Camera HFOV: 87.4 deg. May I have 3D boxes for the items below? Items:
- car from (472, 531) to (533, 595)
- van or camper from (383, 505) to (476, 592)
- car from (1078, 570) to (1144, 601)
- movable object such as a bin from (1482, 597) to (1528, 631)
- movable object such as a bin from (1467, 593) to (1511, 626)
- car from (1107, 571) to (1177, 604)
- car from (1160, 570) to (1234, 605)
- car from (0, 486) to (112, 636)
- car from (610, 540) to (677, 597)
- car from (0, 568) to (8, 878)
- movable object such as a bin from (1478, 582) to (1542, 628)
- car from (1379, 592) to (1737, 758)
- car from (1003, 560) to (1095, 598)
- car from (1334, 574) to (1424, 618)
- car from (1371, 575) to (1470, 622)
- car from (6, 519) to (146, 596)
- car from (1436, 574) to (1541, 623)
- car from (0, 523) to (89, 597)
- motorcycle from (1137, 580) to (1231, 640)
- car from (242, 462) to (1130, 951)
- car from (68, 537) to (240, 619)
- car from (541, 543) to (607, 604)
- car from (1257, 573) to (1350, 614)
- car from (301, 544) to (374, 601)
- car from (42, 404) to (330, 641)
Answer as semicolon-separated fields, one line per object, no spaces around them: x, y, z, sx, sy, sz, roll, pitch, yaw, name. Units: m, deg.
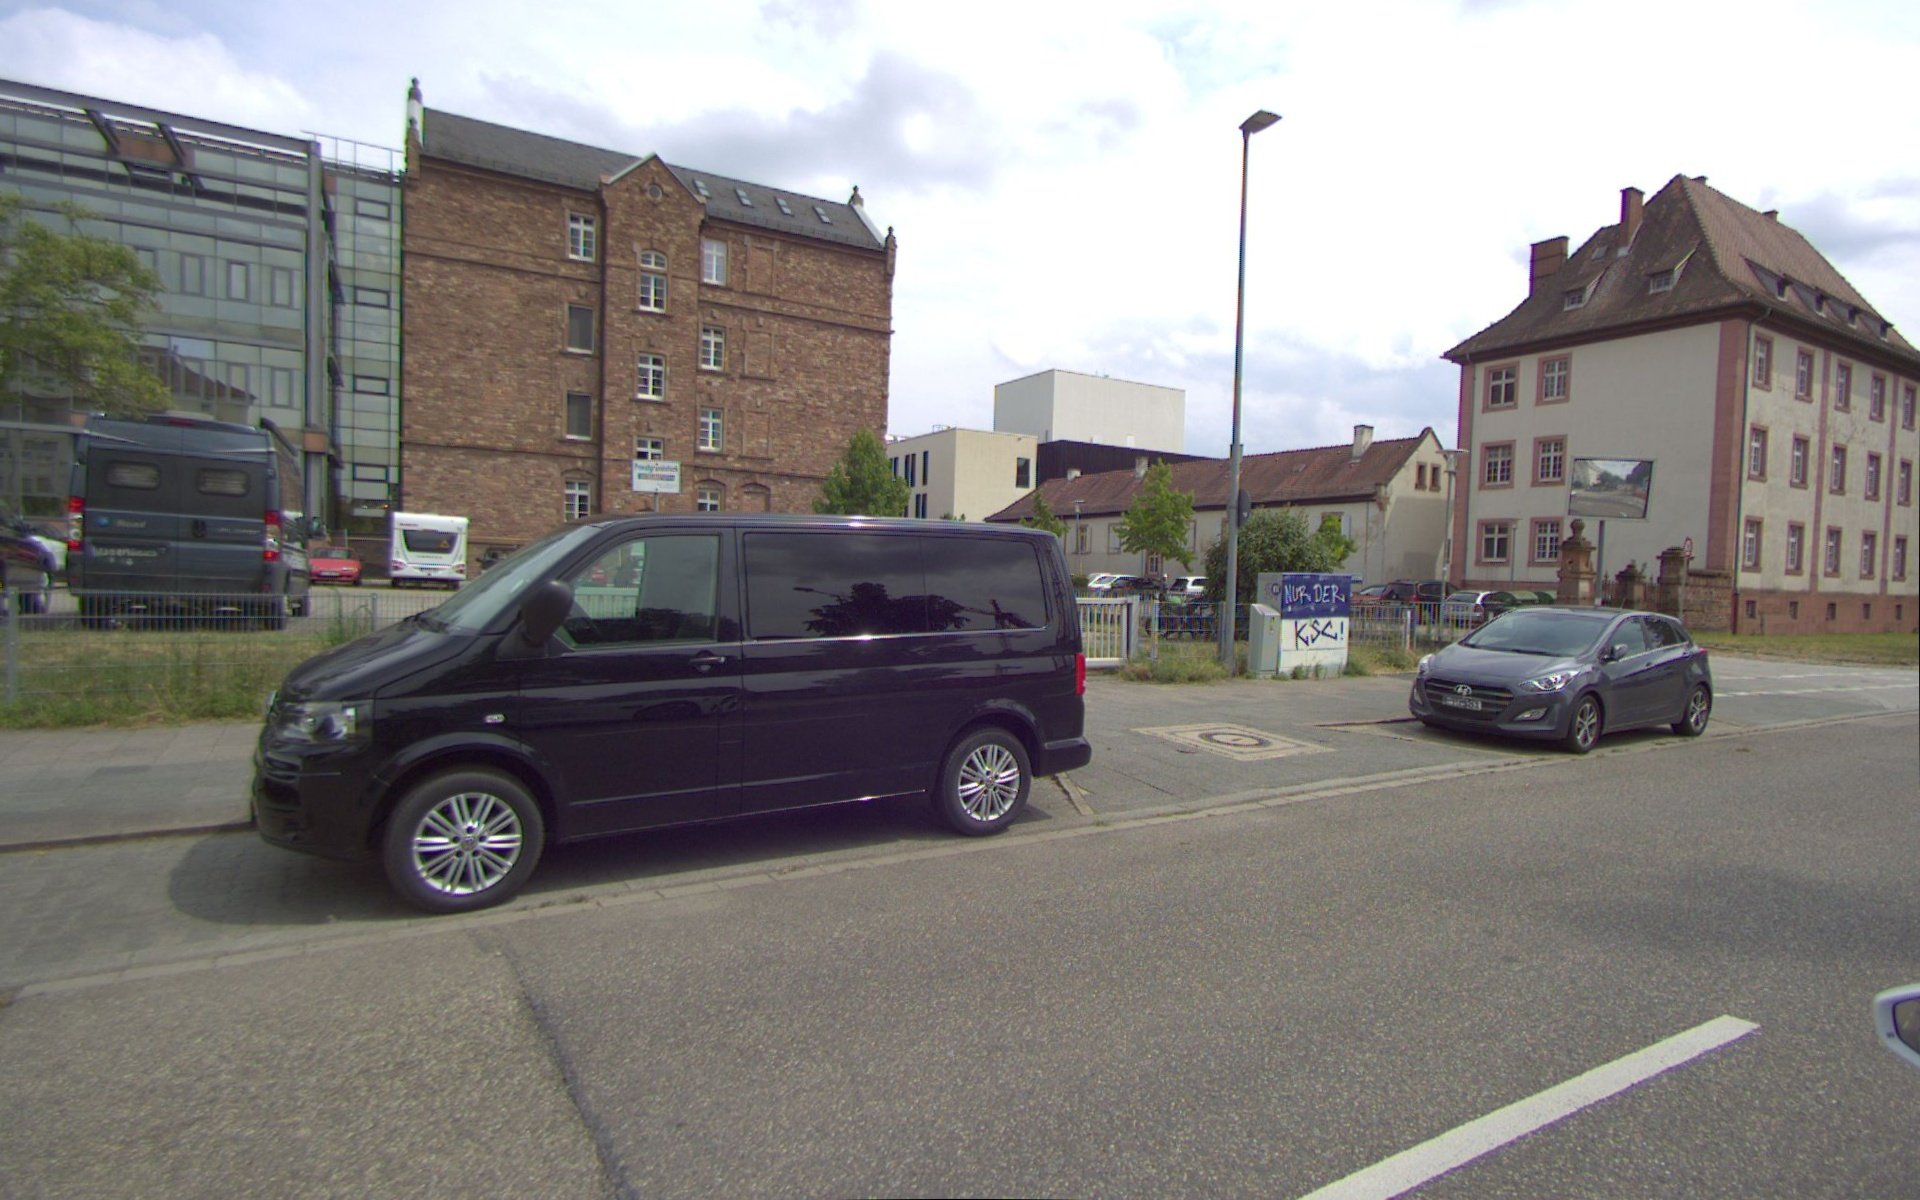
-16.759;-1.303;36.698;1.705;2.165;4.342;1;1;-29;car
-18.614;-1.722;35.123;2.553;2.739;5.021;1;1;-32;van or camper
8.989;-0.888;59.816;3.651;1.734;1.758;-2;3;-30;car
17.233;0.438;31.792;0.701;1.047;1.033;1;2;-29;movable object such as a bin
17.520;0.305;33.292;0.701;1.047;1.033;1;2;-29;movable object such as a bin
10.324;-0.742;56.894;3.651;1.734;1.758;-2;3;-30;car
12.723;-0.718;53.876;3.651;1.734;1.758;-2;3;-30;car
-12.402;-0.522;12.427;1.976;1.640;4.675;0;2;-29;car
-12.790;-1.244;40.426;1.706;2.165;4.340;0;1;-30;car
-5.970;0.659;3.389;3.725;1.550;1.643;0;3;-34;car
18.533;0.167;33.850;1.552;1.488;1.196;1;2;-30;movable object such as a bin
6.999;0.740;11.654;4.251;1.493;1.811;0;4;-33;car
4.208;-0.973;47.453;4.115;1.734;1.577;0;2;-28;car
18.198;-0.204;43.613;3.651;1.734;1.758;-2;3;-30;car
18.922;-0.108;41.244;3.910;1.734;1.758;-2;3;-30;car
-27.227;-1.265;31.123;2.175;2.165;4.346;1;1;-26;car
20.378;-0.097;38.746;3.910;1.734;1.758;-2;3;-30;car
-20.849;-0.921;22.256;1.598;1.503;4.134;1;2;-31;car
4.511;0.186;20.374;0.715;1.157;2.083;1;0;-26;motorcycle
-1.432;0.402;6.248;4.789;2.031;1.937;0;4;-32;car
-18.561;-0.492;23.405;2.302;1.686;4.672;1;1;-29;car
-14.914;-0.999;38.694;1.783;2.165;4.342;1;1;-29;car
16.081;-0.335;47.026;4.238;1.734;1.758;-2;3;-30;car
-21.205;-0.919;34.348;1.704;1.808;4.346;1;1;-26;car
-10.267;-0.919;13.862;2.326;2.586;5.287;1;2;-29;car
